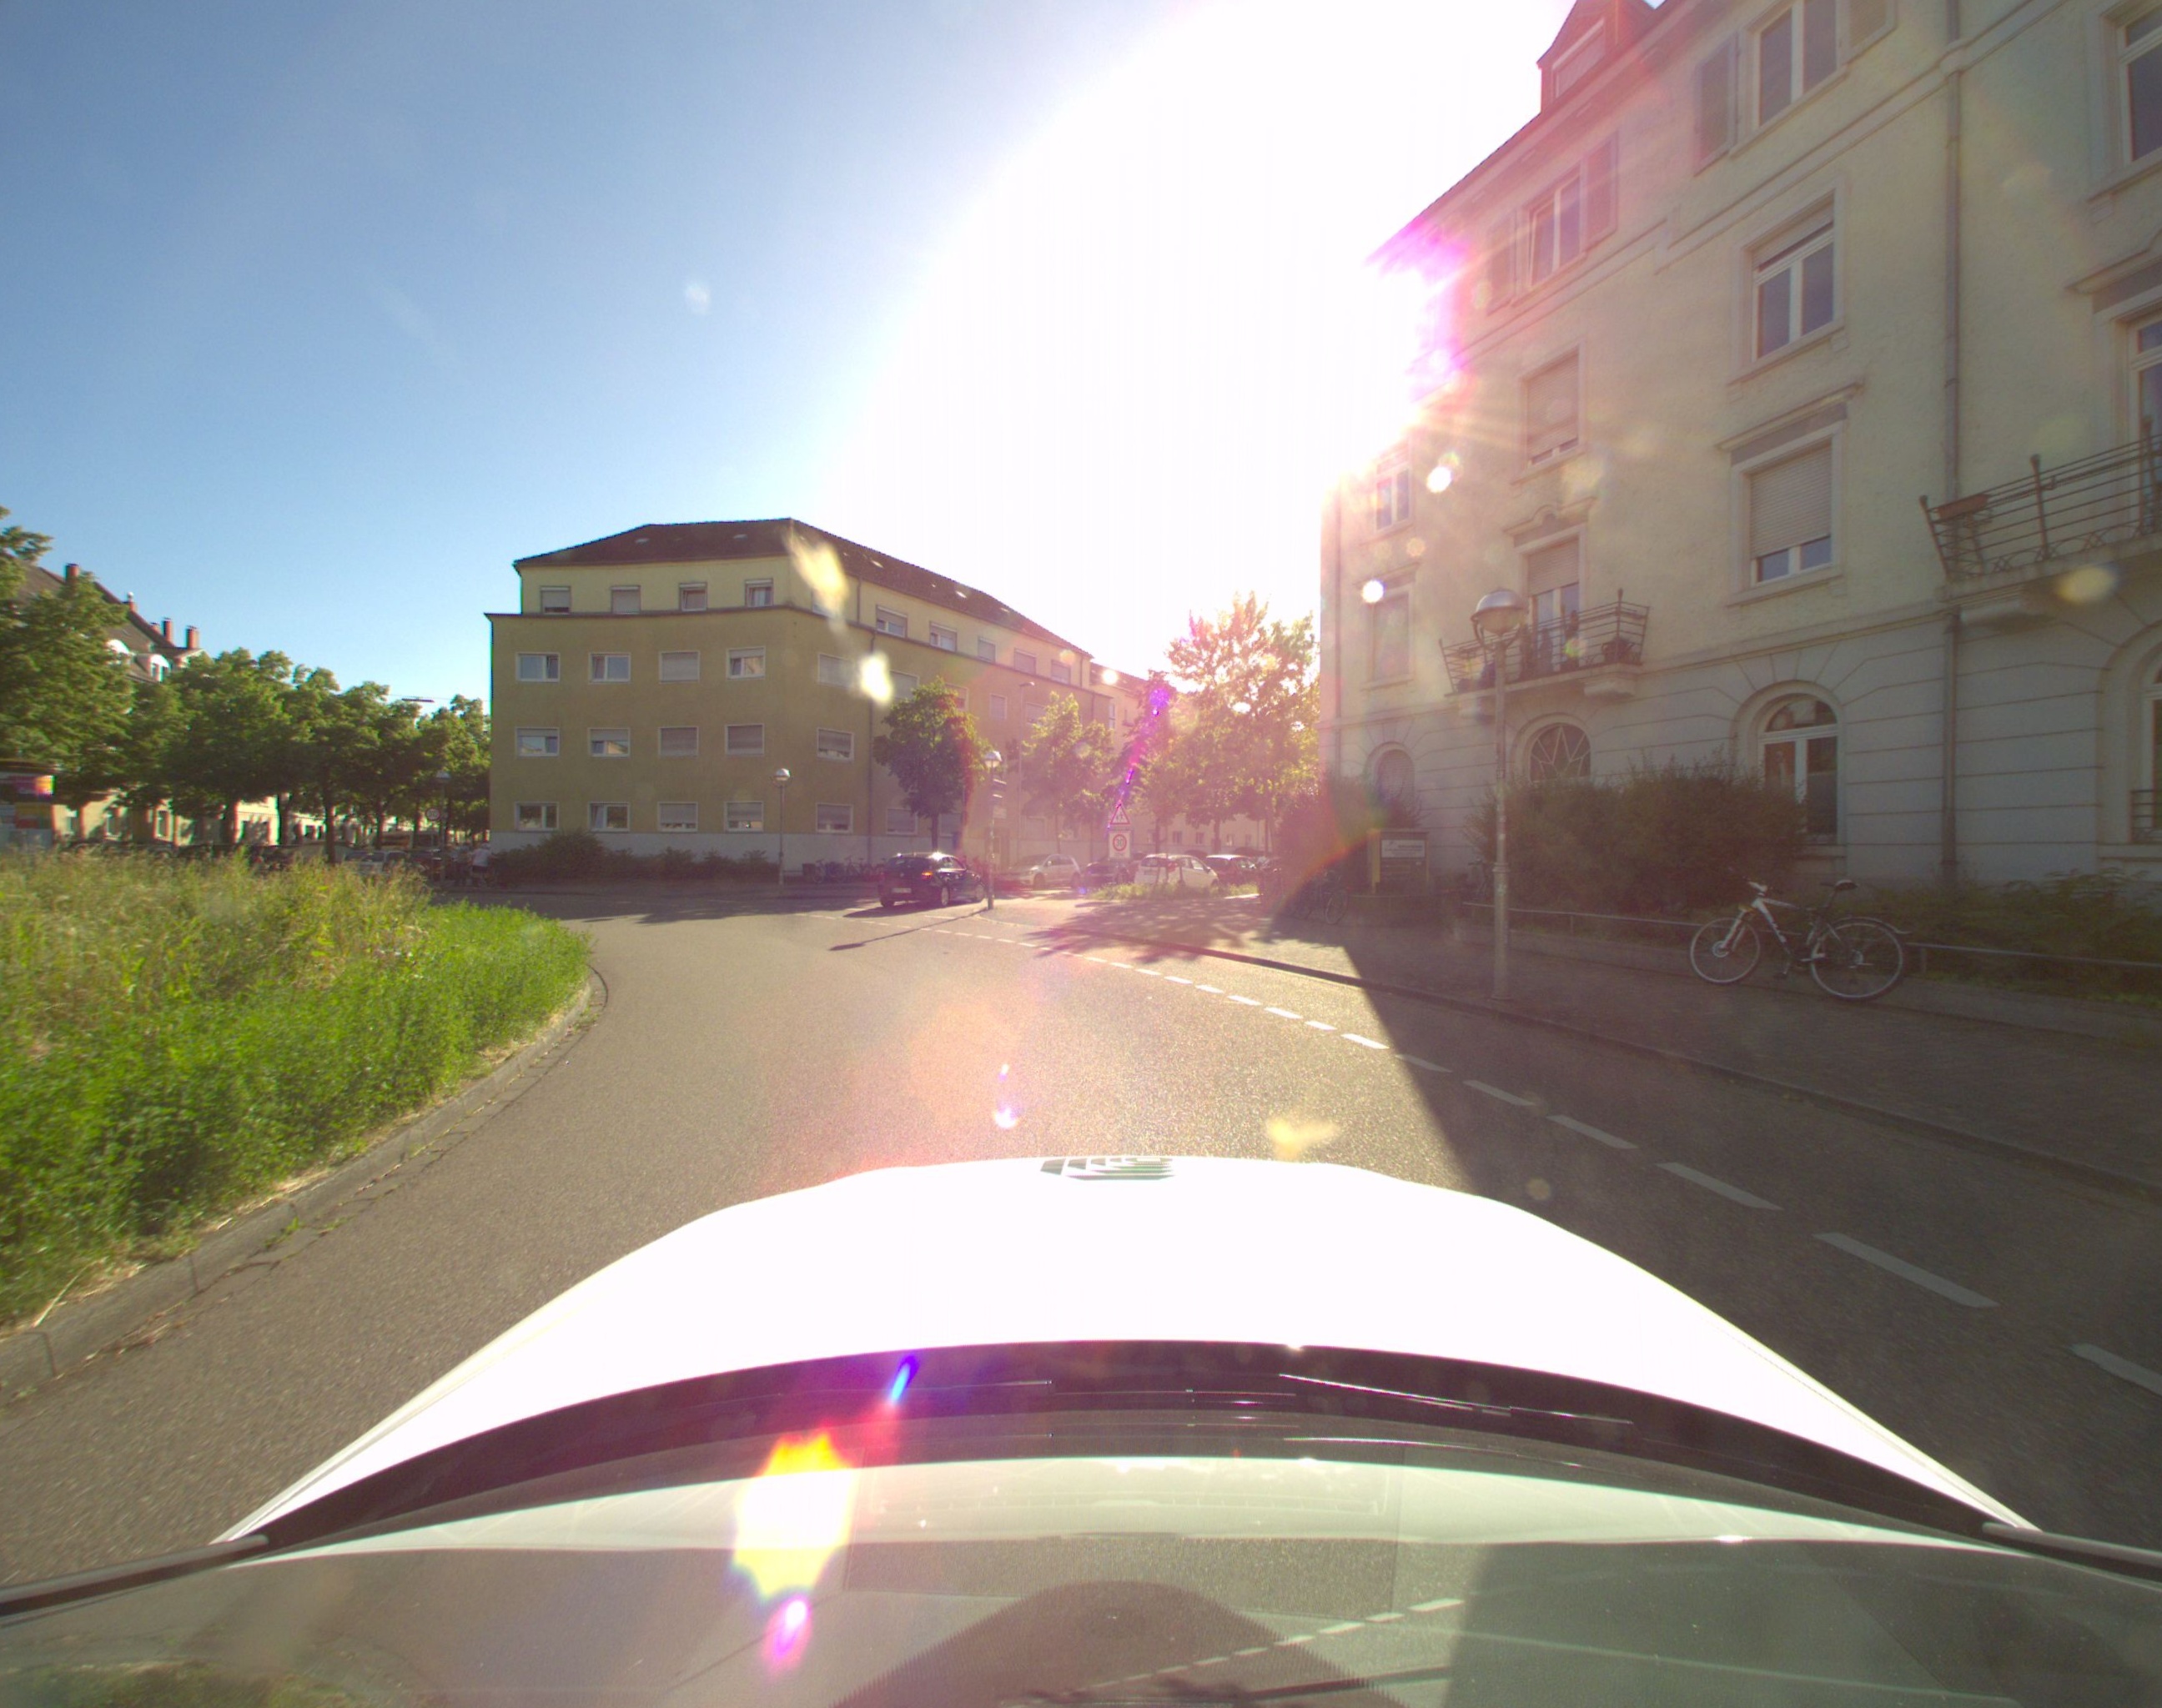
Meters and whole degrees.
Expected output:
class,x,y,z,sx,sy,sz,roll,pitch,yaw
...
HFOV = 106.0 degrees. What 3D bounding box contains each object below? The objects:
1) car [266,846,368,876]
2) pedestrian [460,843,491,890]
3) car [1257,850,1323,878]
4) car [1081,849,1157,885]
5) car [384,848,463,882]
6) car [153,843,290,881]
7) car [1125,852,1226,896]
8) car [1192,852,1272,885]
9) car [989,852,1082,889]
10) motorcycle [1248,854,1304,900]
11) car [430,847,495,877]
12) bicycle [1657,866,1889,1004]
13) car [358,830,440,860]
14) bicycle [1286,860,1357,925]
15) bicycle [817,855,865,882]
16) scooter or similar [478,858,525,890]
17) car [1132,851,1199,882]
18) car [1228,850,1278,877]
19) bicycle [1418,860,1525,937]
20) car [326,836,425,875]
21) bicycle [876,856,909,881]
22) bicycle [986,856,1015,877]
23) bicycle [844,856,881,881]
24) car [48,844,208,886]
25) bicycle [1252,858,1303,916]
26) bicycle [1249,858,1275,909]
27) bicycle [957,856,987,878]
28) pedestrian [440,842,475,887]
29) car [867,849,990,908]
class,x,y,z,sx,sy,sz,roll,pitch,yaw
car,-42.175,0.371,45.032,3.681,1.637,1.723,0,-1,-16
pedestrian,-20.199,0.416,27.175,0.651,1.523,0.692,-2,1,-25
car,9.831,0.449,38.137,1.777,1.255,3.742,-1,-1,34
car,1.825,0.584,38.213,1.777,1.576,4.025,-1,-1,33
car,-29.548,0.499,36.752,1.738,1.439,4.352,0,-1,-25
car,-37.140,0.340,35.314,3.681,1.546,1.723,0,-1,-16
car,3.400,0.658,28.620,1.777,1.413,4.025,0,0,36
car,6.059,0.550,32.415,1.777,1.255,3.742,-1,-1,34
car,-1.787,0.641,33.137,1.780,1.411,4.025,0,-1,32
motorcycle,5.282,0.617,22.031,0.877,1.191,1.499,-3,-1,38
car,-31.729,0.399,41.923,1.738,1.439,4.352,0,-1,-25
bicycle,6.309,0.675,7.554,0.501,1.088,1.680,-2,0,-11
car,-47.682,-0.606,56.961,4.160,1.988,2.179,0,-1,10
bicycle,4.440,0.679,15.140,0.499,1.107,1.793,-1,0,-11
bicycle,-9.758,0.578,33.117,1.802,1.107,0.496,0,0,-23
scooter or similar,-19.469,0.656,27.379,0.913,1.023,0.898,-1,1,-5
car,4.385,0.604,41.800,1.777,1.510,4.025,-1,-1,32
car,10.782,0.595,50.862,1.777,1.576,4.025,-1,-1,33
bicycle,6.111,0.673,12.732,1.684,1.107,0.496,-1,0,-22
car,-27.598,0.071,32.008,1.735,1.411,4.453,0,0,-25
bicycle,-8.209,0.624,35.489,0.494,1.026,1.459,0,0,34
bicycle,-4.019,0.613,40.814,1.458,1.026,0.494,0,0,-43
bicycle,-9.206,0.614,34.268,1.451,1.026,0.496,0,0,-23
car,-36.494,0.408,31.283,3.674,1.546,1.726,0,-1,-11
bicycle,4.073,0.659,17.022,0.497,1.107,1.797,-1,0,-4
bicycle,4.278,0.671,19.205,0.495,1.107,1.958,-1,0,15
bicycle,-5.267,0.615,39.356,1.458,1.026,0.494,0,0,-43
pedestrian,-21.772,0.357,28.433,0.828,1.523,0.691,-2,1,-28
car,-3.993,0.623,22.043,1.852,1.419,4.013,-1,0,12
